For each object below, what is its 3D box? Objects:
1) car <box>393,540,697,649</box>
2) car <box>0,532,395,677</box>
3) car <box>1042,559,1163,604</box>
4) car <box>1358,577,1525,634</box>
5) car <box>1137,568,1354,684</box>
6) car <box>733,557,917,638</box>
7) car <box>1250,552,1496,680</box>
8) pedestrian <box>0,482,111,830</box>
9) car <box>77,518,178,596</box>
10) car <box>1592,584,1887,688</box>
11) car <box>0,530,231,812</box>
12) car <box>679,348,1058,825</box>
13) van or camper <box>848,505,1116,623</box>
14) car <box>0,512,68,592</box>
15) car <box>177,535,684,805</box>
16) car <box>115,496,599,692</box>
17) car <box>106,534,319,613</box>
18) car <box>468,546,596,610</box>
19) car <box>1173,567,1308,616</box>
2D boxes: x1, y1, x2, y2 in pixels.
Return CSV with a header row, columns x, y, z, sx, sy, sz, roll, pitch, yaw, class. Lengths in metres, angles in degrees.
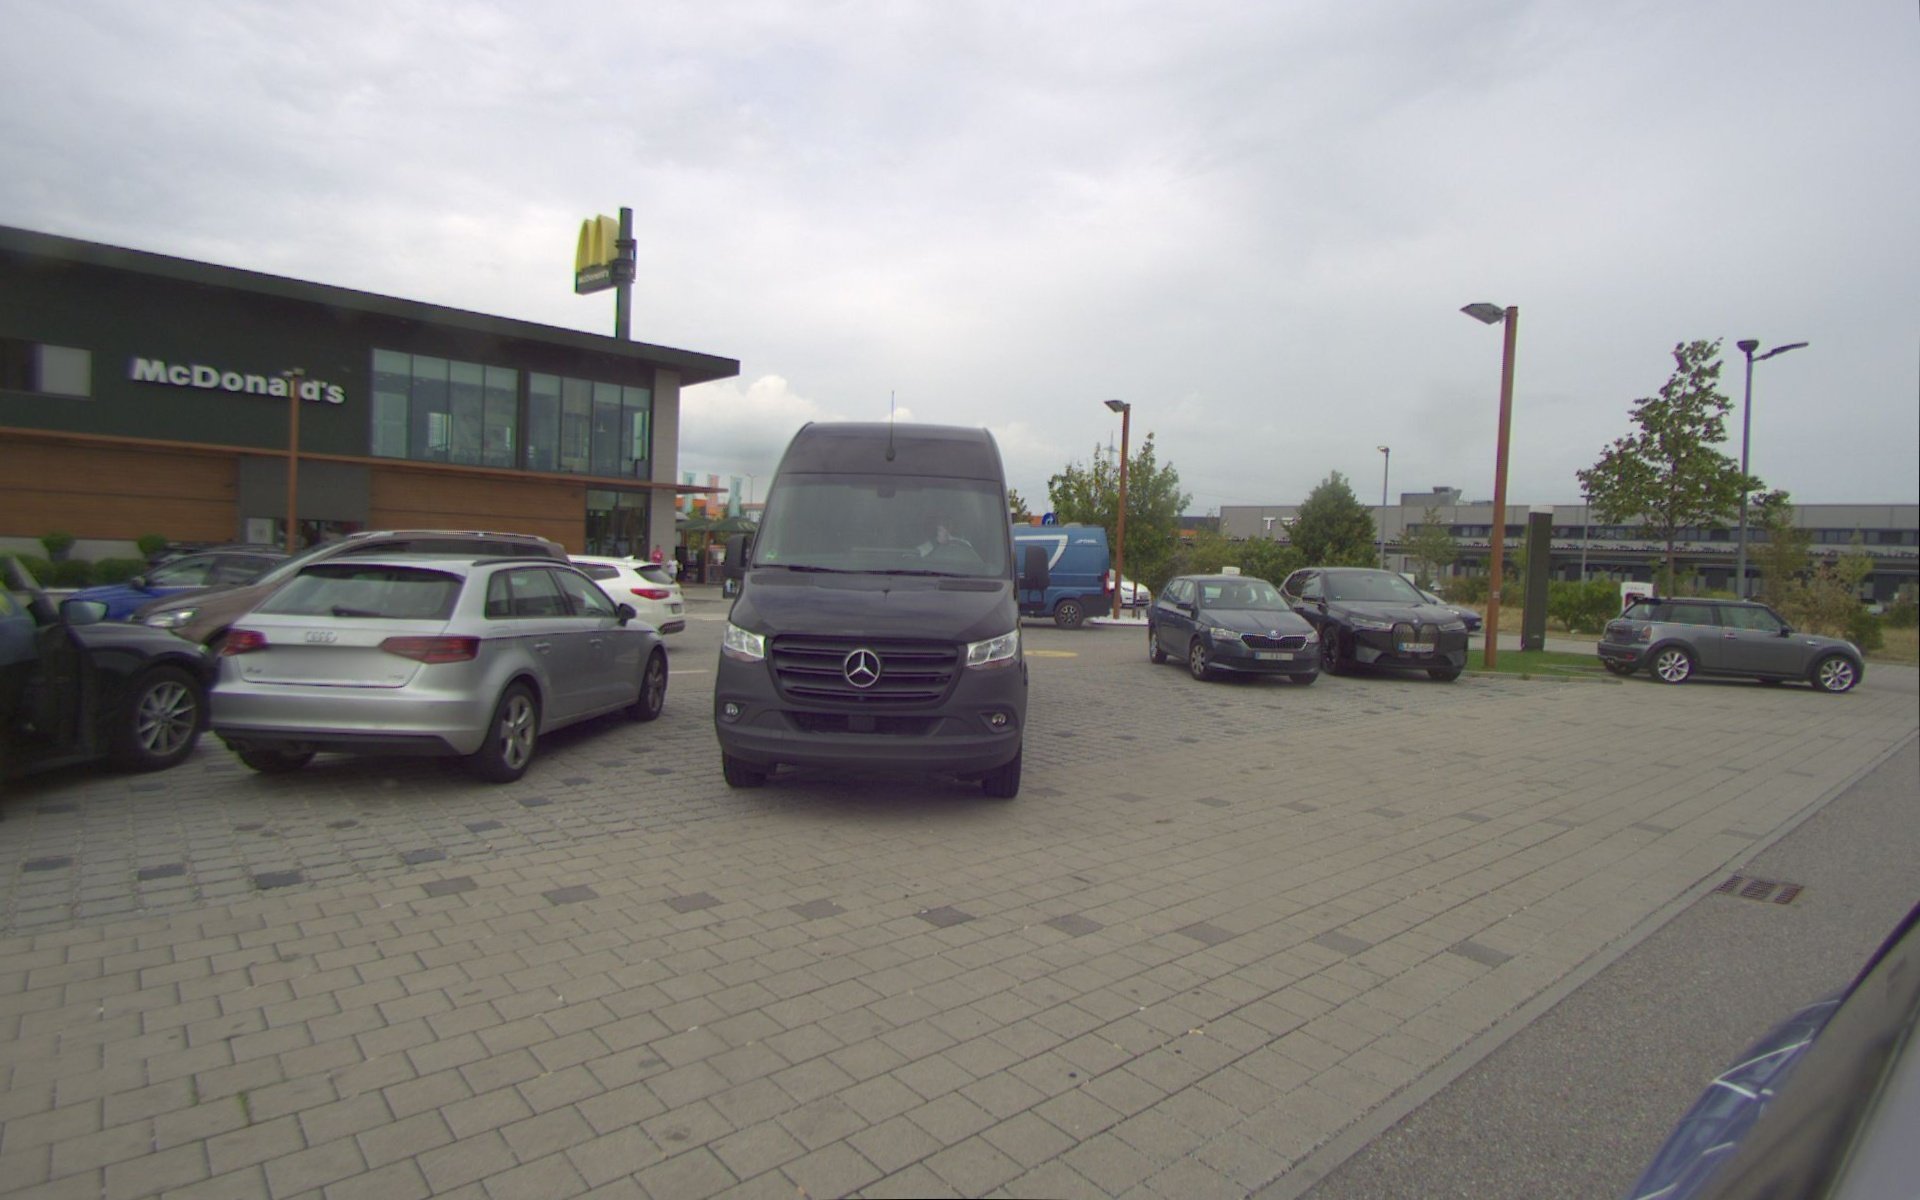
x,y,z,sx,sy,sz,roll,pitch,yaw,class
-6.395,-0.084,15.923,4.032,1.485,1.780,2,0,-1,car
-9.897,0.021,13.330,3.928,1.528,1.768,4,1,4,car
6.013,-0.824,43.233,2.037,1.621,4.940,0,4,-40,car
15.267,0.115,32.306,1.801,1.476,4.454,0,4,-39,car
4.032,0.276,15.033,1.796,1.429,4.005,1,2,-4,car
-2.691,-0.077,20.798,3.507,1.471,1.843,2,1,1,car
6.630,0.154,16.975,1.962,1.749,4.899,3,2,-1,car
-5.040,0.257,5.152,0.735,1.698,0.843,2,2,-1,pedestrian
-21.446,-1.130,26.014,1.723,1.775,3.993,2,2,-43,car
12.905,0.548,16.948,3.469,1.393,1.606,4,1,8,car
-5.875,0.367,4.764,1.656,1.481,4.407,2,2,1,car
-0.499,-0.191,9.102,2.034,2.584,7.014,2,2,0,car
0.602,-0.908,25.575,6.461,2.734,2.168,1,1,7,van or camper
-22.949,-1.224,24.625,1.723,1.775,3.993,2,2,-43,car
-3.541,0.336,7.700,1.656,1.469,3.999,2,2,2,car
-6.313,-0.062,10.935,1.806,1.710,4.123,5,2,44,car
-17.357,-0.664,23.764,1.805,1.593,4.090,3,3,4,car
-12.090,-0.695,28.855,1.758,1.504,4.000,4,4,3,car
10.428,-0.347,37.856,2.038,1.572,4.470,0,3,-43,car
